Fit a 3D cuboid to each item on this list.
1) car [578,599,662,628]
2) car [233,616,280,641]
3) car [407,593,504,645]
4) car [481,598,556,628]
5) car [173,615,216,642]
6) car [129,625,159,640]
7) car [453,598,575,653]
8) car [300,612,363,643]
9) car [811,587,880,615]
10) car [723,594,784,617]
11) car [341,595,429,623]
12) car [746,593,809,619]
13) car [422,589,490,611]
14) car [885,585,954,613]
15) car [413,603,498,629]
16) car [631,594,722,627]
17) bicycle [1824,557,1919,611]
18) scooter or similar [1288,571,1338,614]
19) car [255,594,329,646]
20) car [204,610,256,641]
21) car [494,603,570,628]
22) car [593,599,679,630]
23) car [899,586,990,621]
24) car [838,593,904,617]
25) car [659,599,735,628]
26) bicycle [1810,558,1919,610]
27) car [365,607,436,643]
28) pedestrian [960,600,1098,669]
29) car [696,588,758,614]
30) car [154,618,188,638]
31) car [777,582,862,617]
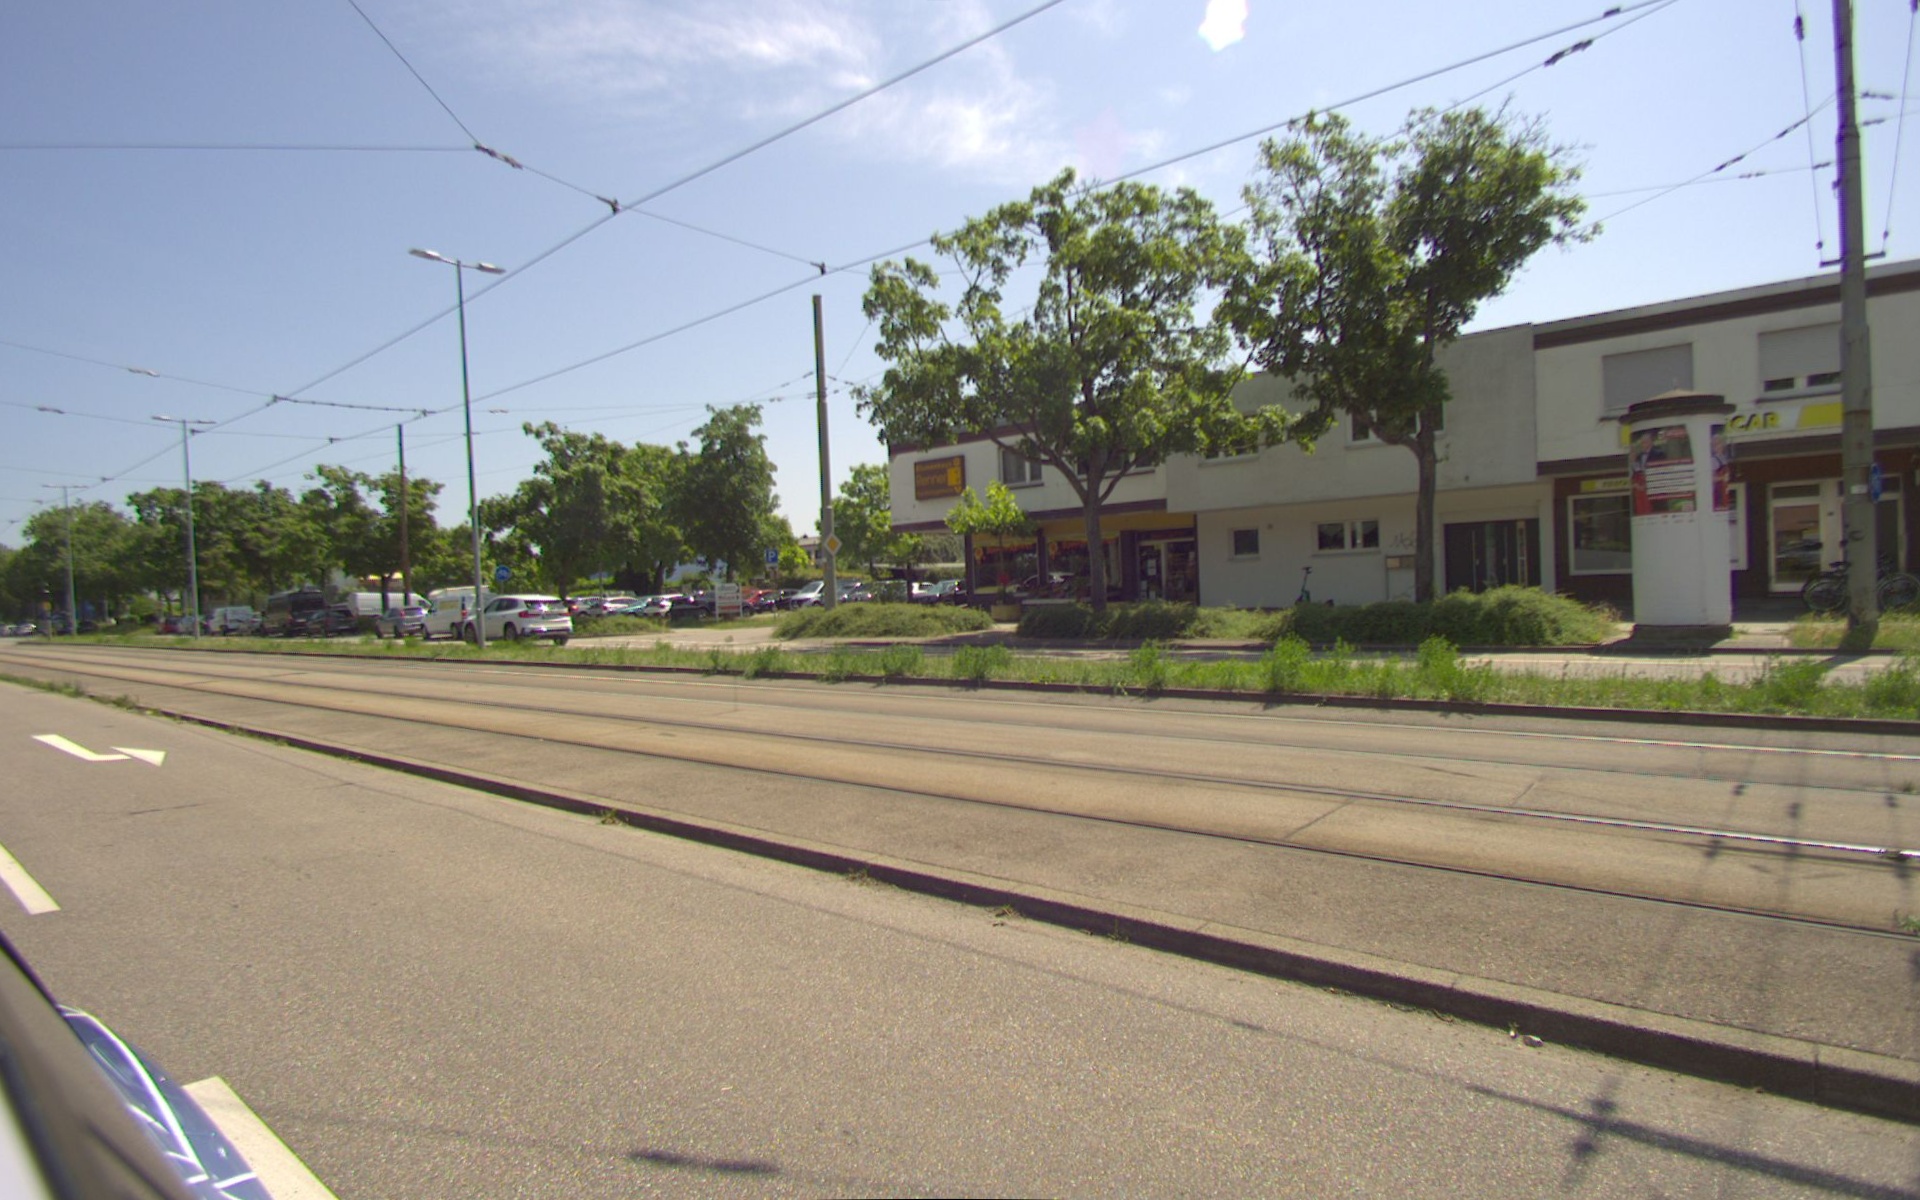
[{"bbox_3d":[-18.619,0.733,55.528,1.855,1.501,4.099,-1,0,34],"label":"car"},{"bbox_3d":[-44.980,1.812,64.672,3.608,1.475,1.744,-1,0,42],"label":"car"},{"bbox_3d":[-22.194,0.838,44.404,5.342,2.025,1.856,-1,4,42],"label":"car"},{"bbox_3d":[-28.160,0.792,64.615,1.794,1.730,3.951,-2,1,37],"label":"car"},{"bbox_3d":[-57.016,2.078,75.338,4.494,1.907,1.614,-1,0,41],"label":"car"},{"bbox_3d":[-70.803,2.825,87.775,3.423,1.167,1.561,-1,0,43],"label":"car"},{"bbox_3d":[-14.290,0.786,32.307,4.565,1.622,1.706,-1,0,40],"label":"car"},{"bbox_3d":[-34.223,1.474,55.087,3.751,1.589,1.950,-1,0,42],"label":"car"},{"bbox_3d":[-6.933,0.049,61.578,1.804,1.669,3.943,-1,0,43],"label":"car"},{"bbox_3d":[-14.026,0.363,68.911,1.712,1.505,3.953,-1,0,35],"label":"car"},{"bbox_3d":[-43.340,0.687,76.364,2.029,1.970,5.363,-1,0,42],"label":"car"},{"bbox_3d":[-11.975,0.390,66.718,1.683,1.597,3.948,-1,0,39],"label":"car"},{"bbox_3d":[-49.767,-0.012,100.000,2.145,2.078,5.674,-1,0,38],"label":"car"},{"bbox_3d":[-2.312,-0.091,58.441,1.661,1.531,3.943,-1,0,43],"label":"car"},{"bbox_3d":[-34.684,1.074,69.703,1.997,1.588,4.866,-2,1,38],"label":"car"},{"bbox_3d":[-14.596,0.545,52.336,1.983,1.501,4.120,-2,1,39],"label":"car"},{"bbox_3d":[17.285,-0.292,18.680,2.028,0.986,0.604,-1,0,41],"label":"bicycle"},{"bbox_3d":[10.008,-0.205,28.738,0.448,1.200,1.349,-1,0,-29],"label":"scooter or similar"},{"bbox_3d":[-39.096,1.136,59.193,5.666,2.859,2.214,-1,0,42],"label":"car"},{"bbox_3d":[-49.432,1.697,68.472,4.816,1.963,1.899,-1,0,42],"label":"car"},{"bbox_3d":[-26.430,0.971,62.539,1.794,1.417,3.950,-2,-1,37],"label":"car"},{"bbox_3d":[-17.088,0.741,53.531,1.908,1.501,3.995,-1,0,34],"label":"car"},{"bbox_3d":[-0.654,0.122,44.179,1.682,1.306,3.944,-3,0,42],"label":"car"},{"bbox_3d":[-5.208,0.282,59.424,1.764,1.294,3.675,-1,0,43],"label":"car"},{"bbox_3d":[-13.026,0.646,50.208,1.639,1.241,3.386,-2,1,34],"label":"car"},{"bbox_3d":[17.910,-0.306,19.945,1.758,0.986,0.533,-1,0,41],"label":"bicycle"},{"bbox_3d":[-26.925,1.211,48.624,4.124,1.513,1.633,-1,4,42],"label":"car"},{"bbox_3d":[2.148,1.049,32.159,3.997,2.029,1.973,-1,0,40],"label":"pedestrian"},{"bbox_3d":[-16.074,0.083,70.030,1.689,1.665,4.082,-2,0,35],"label":"car"},{"bbox_3d":[-62.020,2.169,79.525,3.423,1.491,1.561,-1,0,43],"label":"car"},{"bbox_3d":[-8.713,-0.050,63.229,2.225,2.085,5.055,-1,0,41],"label":"car"}]
